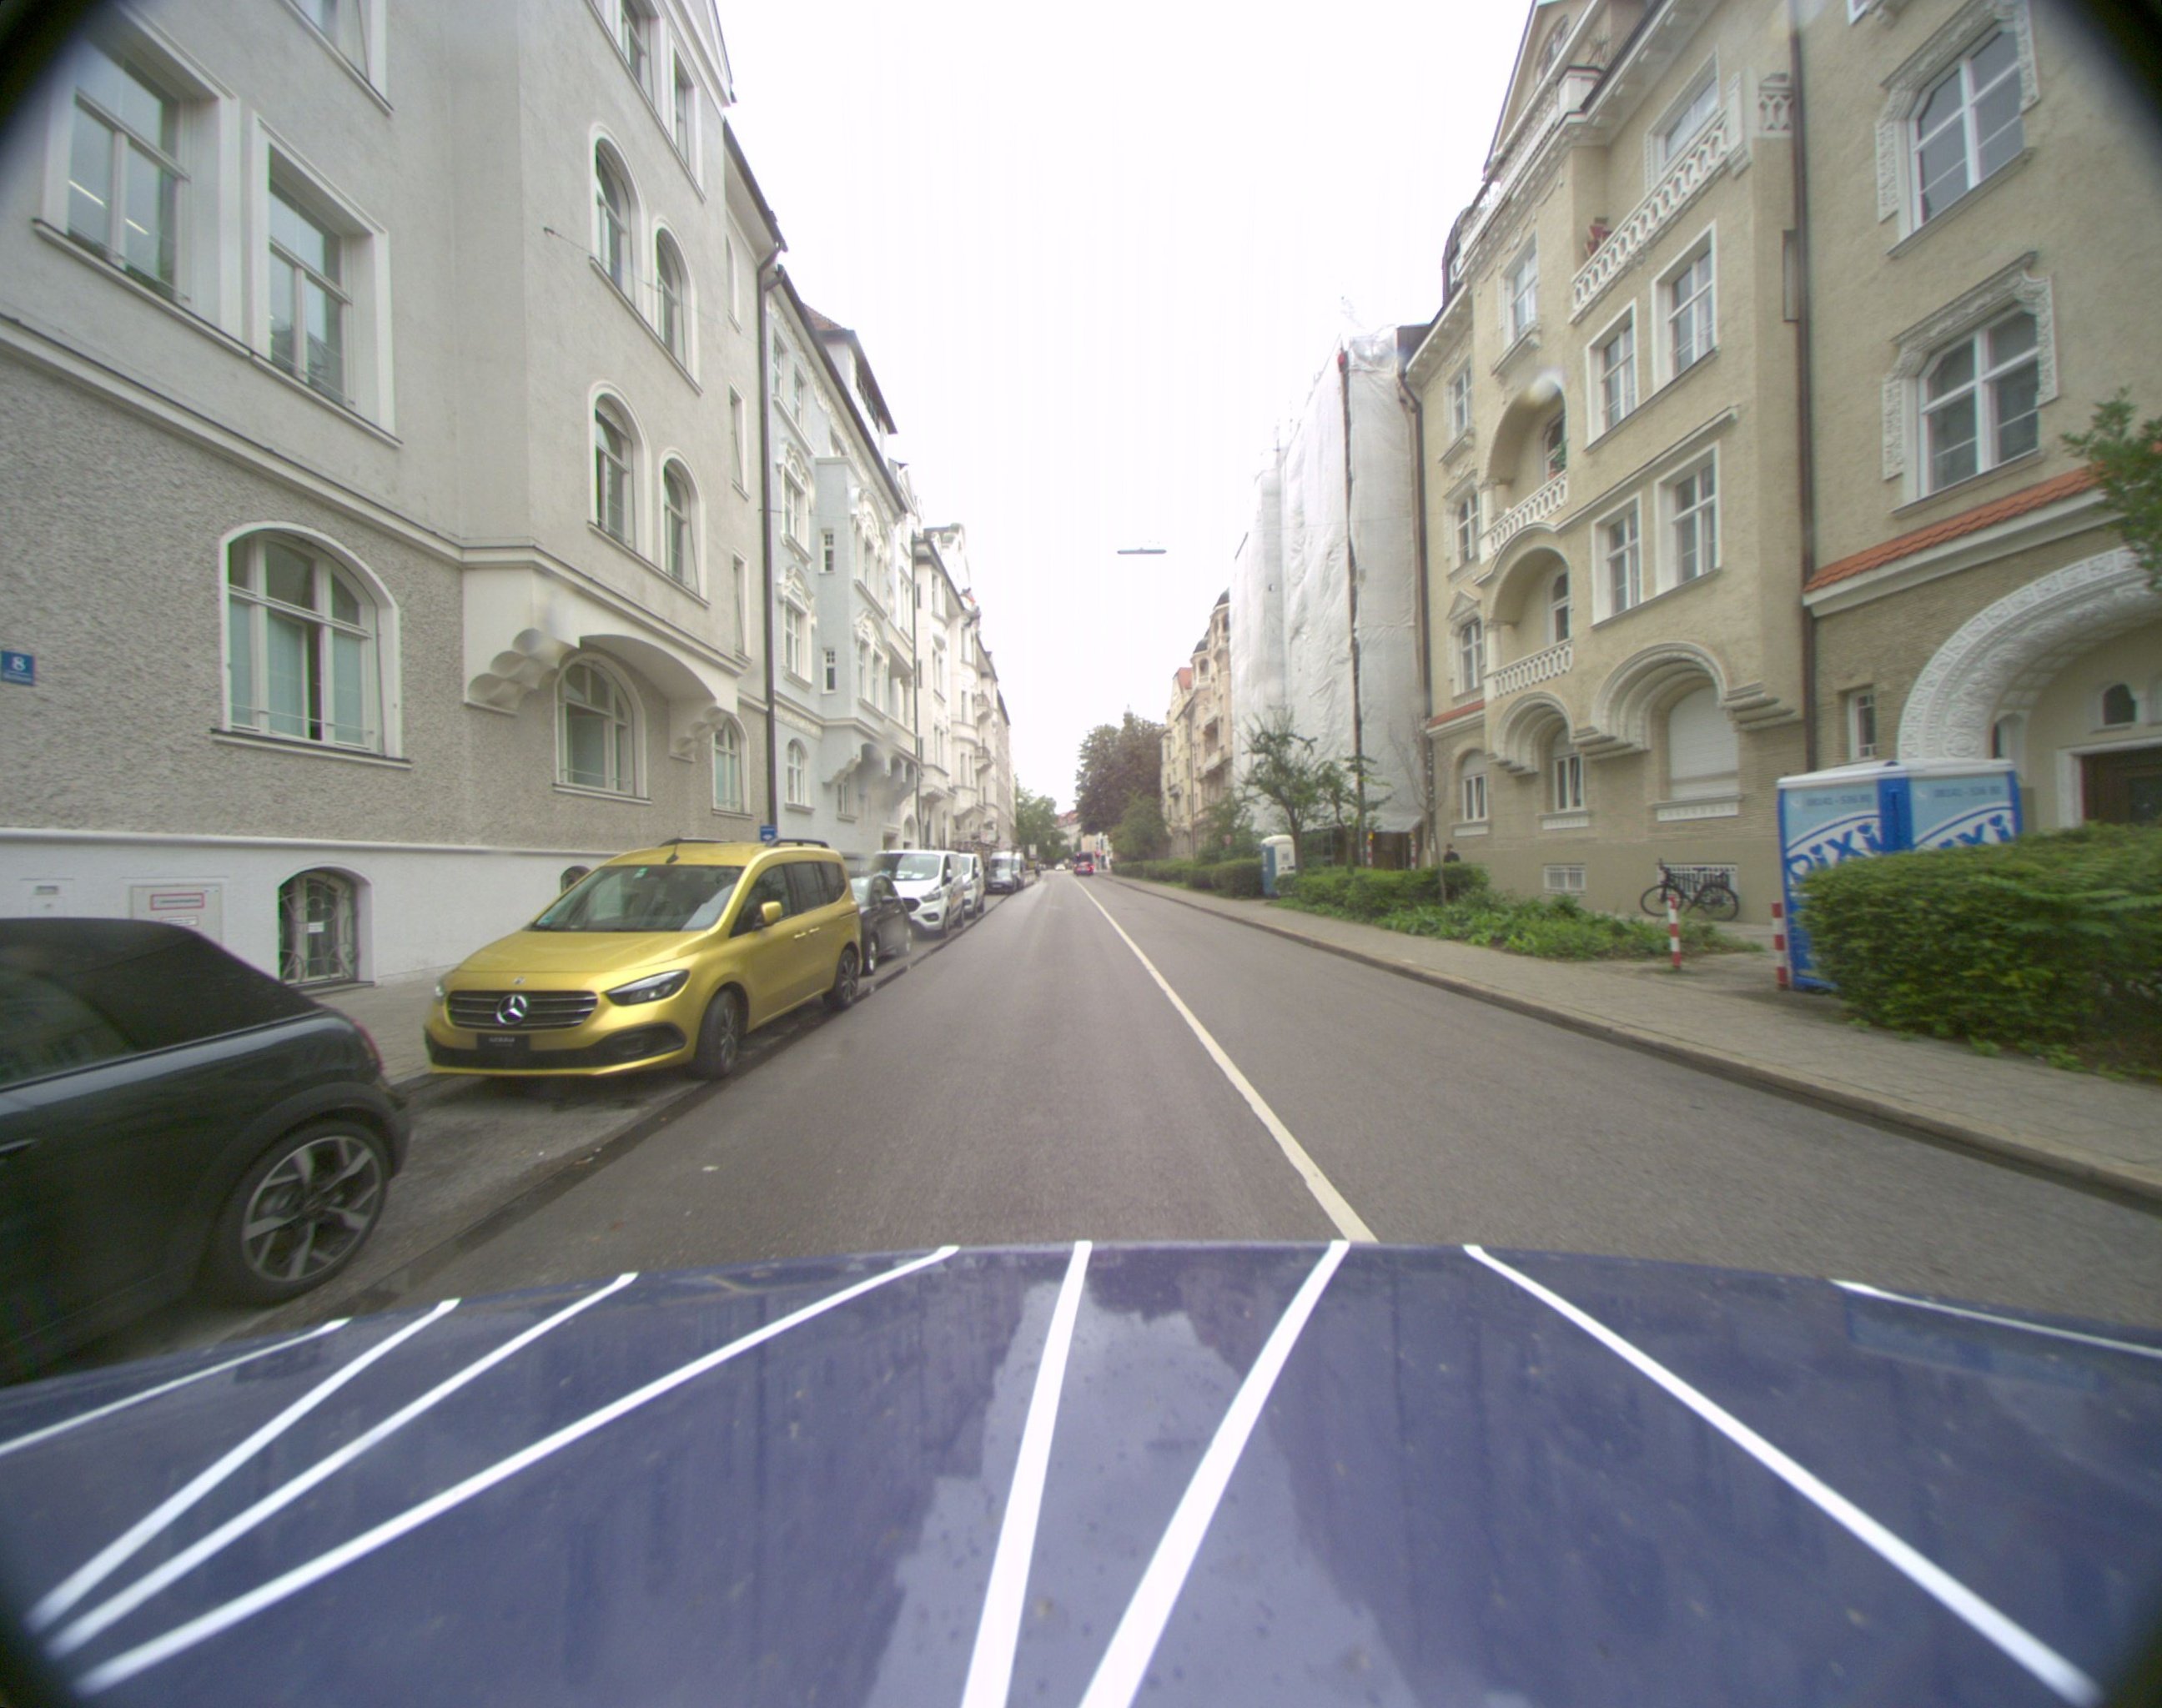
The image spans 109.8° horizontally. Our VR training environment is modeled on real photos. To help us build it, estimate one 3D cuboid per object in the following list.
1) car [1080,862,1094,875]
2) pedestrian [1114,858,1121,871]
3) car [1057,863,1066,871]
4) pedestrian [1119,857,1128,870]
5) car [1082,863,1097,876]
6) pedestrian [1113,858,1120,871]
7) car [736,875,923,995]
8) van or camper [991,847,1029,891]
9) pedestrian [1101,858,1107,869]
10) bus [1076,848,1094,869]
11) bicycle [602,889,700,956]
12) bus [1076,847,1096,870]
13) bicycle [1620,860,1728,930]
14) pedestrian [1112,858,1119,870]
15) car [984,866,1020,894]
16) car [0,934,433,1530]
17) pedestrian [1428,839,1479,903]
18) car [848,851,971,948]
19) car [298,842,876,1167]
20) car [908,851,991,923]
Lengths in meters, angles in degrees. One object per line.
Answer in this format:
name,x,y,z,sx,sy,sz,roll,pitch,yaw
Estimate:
car,0.699,1.720,91.535,1.588,1.470,3.782,-1,0,-2
pedestrian,4.927,1.354,102.763,0.875,1.735,0.786,-1,0,-2
car,-4.425,2.876,169.586,1.927,1.608,3.999,-2,0,-2
pedestrian,5.809,1.297,103.809,0.784,1.735,0.877,-1,0,30
car,1.040,2.012,98.177,1.772,1.635,4.273,-1,0,-2
pedestrian,4.786,1.370,101.899,0.910,1.735,0.847,-1,0,-2
car,-3.720,1.121,11.947,1.636,1.475,3.783,-1,0,0
van or camper,-4.489,0.911,48.888,1.959,2.621,5.458,-1,0,-1
pedestrian,4.092,1.685,134.120,0.952,2.002,1.397,-1,0,8
bus,0.536,0.666,117.051,2.586,3.082,9.107,-1,0,-1
bicycle,-8.044,1.243,14.330,0.696,1.087,2.037,1,0,0
bus,0.665,0.605,108.024,2.586,3.082,8.922,-1,0,-1
bicycle,11.550,0.772,14.865,0.747,1.268,1.703,-1,0,0
pedestrian,4.729,1.368,103.742,0.875,1.735,0.910,-1,0,-2
car,-4.394,1.416,42.784,1.758,1.426,4.086,-1,0,-2
car,-3.706,1.074,1.394,1.668,1.448,3.896,-1,-1,0
pedestrian,10.361,0.463,21.139,0.916,1.741,0.948,-1,0,-2
car,-3.842,0.941,17.917,1.965,1.925,4.992,-1,0,-3
car,-3.504,0.894,6.779,1.855,1.842,4.821,-1,-1,2
car,-4.039,0.960,24.128,1.965,2.002,4.992,-1,0,-3
